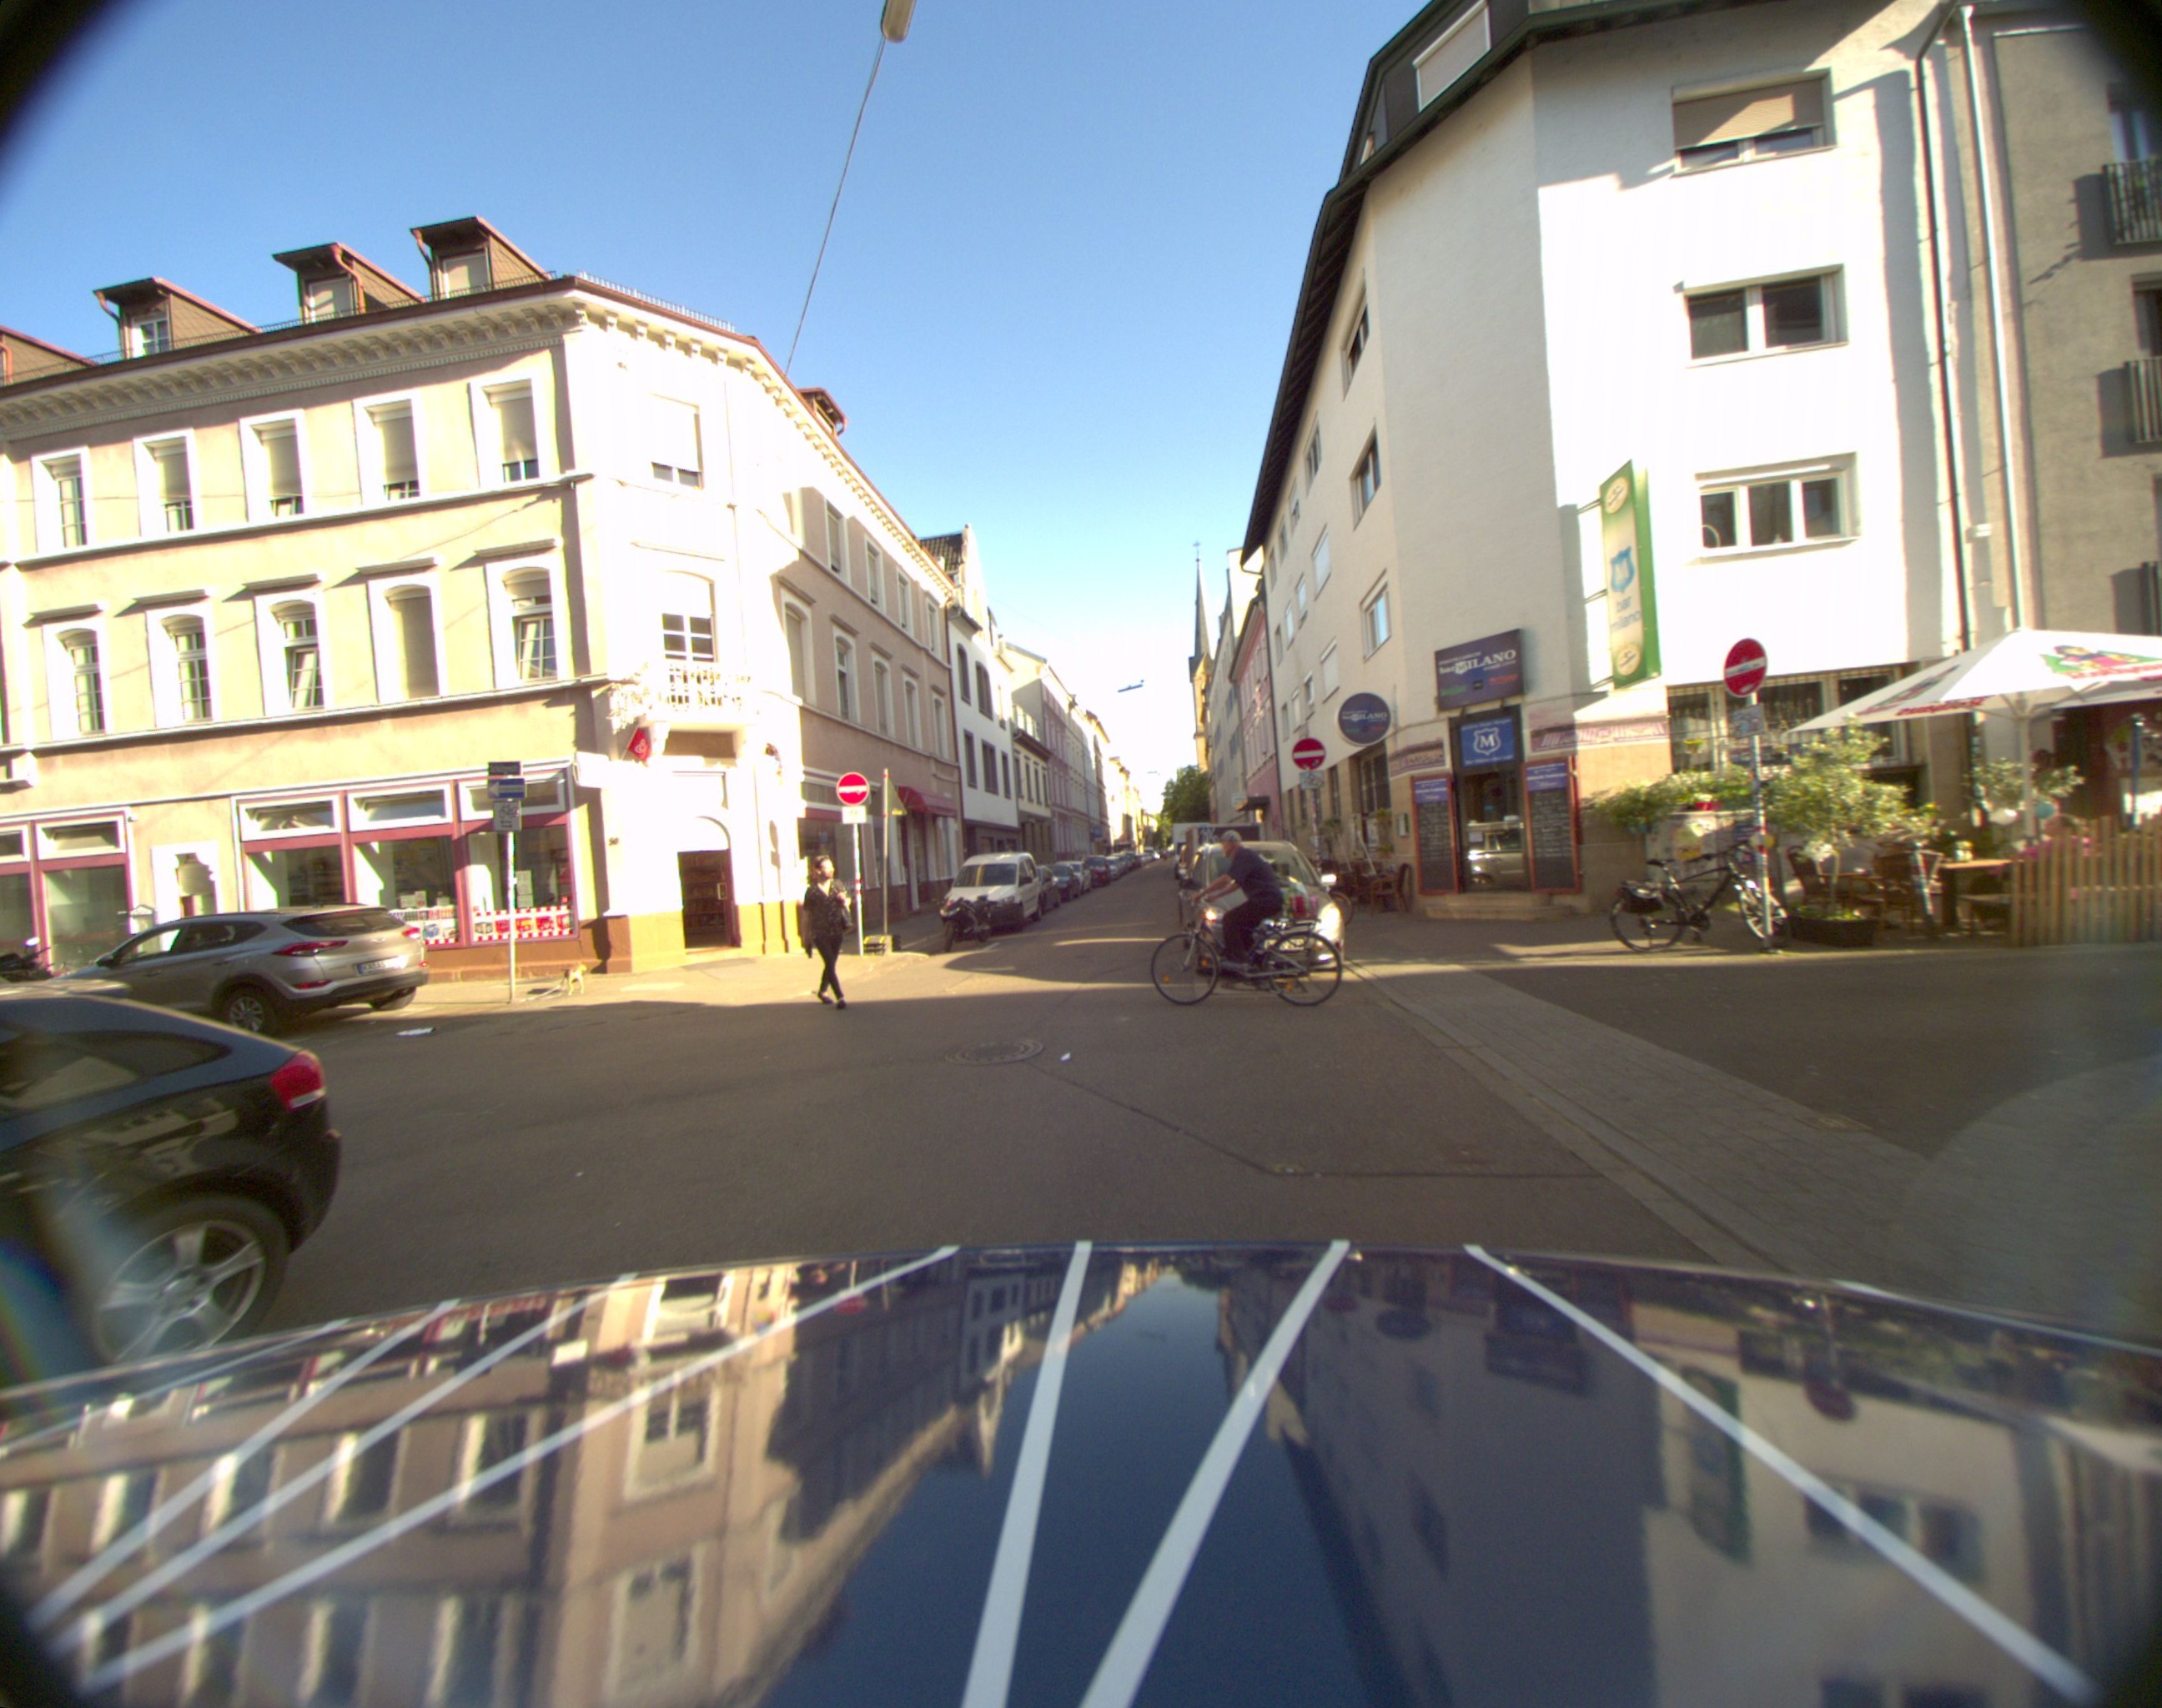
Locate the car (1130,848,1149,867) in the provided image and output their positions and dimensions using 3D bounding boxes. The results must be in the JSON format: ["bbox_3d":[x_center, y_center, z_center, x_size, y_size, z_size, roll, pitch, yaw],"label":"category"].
[{"bbox_3d":[7.265,0.420,94.798,1.998,2.002,4.564,-6,1,3],"label":"car"}]

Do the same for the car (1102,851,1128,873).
[{"bbox_3d":[2.559,0.564,57.062,1.612,1.444,3.883,-3,1,7],"label":"car"}]

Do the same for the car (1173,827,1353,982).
[{"bbox_3d":[2.206,0.540,10.277,1.725,1.596,4.168,-3,0,5],"label":"car"}]

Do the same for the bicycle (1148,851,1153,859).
[{"bbox_3d":[11.136,0.087,121.638,0.728,1.173,2.489,-6,1,5],"label":"bicycle"}]

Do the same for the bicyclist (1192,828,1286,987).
[{"bbox_3d":[1.482,0.484,7.233,0.788,1.427,0.711,-2,1,8],"label":"bicyclist"}]

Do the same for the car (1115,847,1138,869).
[{"bbox_3d":[4.111,0.317,68.259,1.712,1.721,4.222,-3,1,7],"label":"car"}]

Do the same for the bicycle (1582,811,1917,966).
[{"bbox_3d":[6.859,0.350,7.948,2.480,1.351,0.929,-4,1,8],"label":"bicycle"}]

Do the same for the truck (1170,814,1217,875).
[{"bbox_3d":[6.540,-0.583,44.374,2.295,3.165,7.047,-4,1,8],"label":"truck"}]

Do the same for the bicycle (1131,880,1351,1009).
[{"bbox_3d":[1.484,0.842,7.245,1.932,1.105,0.711,-2,1,8],"label":"bicycle"}]

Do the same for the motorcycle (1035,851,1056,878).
[{"bbox_3d":[-1.975,0.553,42.533,0.667,1.388,2.038,-6,1,7],"label":"motorcycle"}]

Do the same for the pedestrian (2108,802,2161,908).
[{"bbox_3d":[12.293,-0.006,8.479,0.659,1.148,0.681,-6,1,16],"label":"pedestrian"}]

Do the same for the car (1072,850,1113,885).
[{"bbox_3d":[0.695,0.690,42.198,1.712,1.721,4.409,-3,1,7],"label":"car"}]

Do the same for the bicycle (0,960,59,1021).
[{"bbox_3d":[-19.964,2.565,14.017,1.643,1.003,0.455,-6,1,5],"label":"bicycle"}]

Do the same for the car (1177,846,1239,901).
[{"bbox_3d":[4.016,0.557,24.646,1.677,1.488,4.532,-3,1,7],"label":"car"}]

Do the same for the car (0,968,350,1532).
[{"bbox_3d":[-4.068,1.273,1.093,1.775,1.426,4.035,-5,0,6],"label":"car"}]

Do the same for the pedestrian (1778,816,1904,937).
[{"bbox_3d":[8.564,0.241,8.597,0.687,1.259,0.660,-6,1,11],"label":"pedestrian"}]

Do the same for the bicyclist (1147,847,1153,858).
[{"bbox_3d":[11.076,-0.282,121.555,0.715,1.650,0.877,-6,1,5],"label":"bicyclist"}]

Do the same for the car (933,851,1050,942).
[{"bbox_3d":[-2.023,0.909,18.537,1.752,1.806,4.371,-3,1,7],"label":"car"}]

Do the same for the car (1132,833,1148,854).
[{"bbox_3d":[8.674,-1.582,112.300,1.998,2.777,4.564,-6,1,3],"label":"car"}]

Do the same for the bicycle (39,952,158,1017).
[{"bbox_3d":[-18.175,2.405,14.065,1.643,1.003,0.455,-5,1,5],"label":"bicycle"}]

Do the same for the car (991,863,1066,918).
[{"bbox_3d":[-1.560,1.103,24.065,1.612,1.400,3.883,-3,1,7],"label":"car"}]

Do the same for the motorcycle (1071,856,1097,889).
[{"bbox_3d":[0.170,0.916,37.853,0.989,1.481,2.268,-3,1,7],"label":"motorcycle"}]

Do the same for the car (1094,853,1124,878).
[{"bbox_3d":[1.910,0.728,50.229,1.612,1.388,3.883,-3,1,7],"label":"car"}]

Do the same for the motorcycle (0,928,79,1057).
[{"bbox_3d":[-15.131,1.935,10.744,2.330,1.639,0.853,-5,1,41],"label":"motorcycle"}]

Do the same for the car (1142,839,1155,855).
[{"bbox_3d":[12.237,-1.285,138.137,1.998,2.777,4.564,-6,1,3],"label":"car"}]

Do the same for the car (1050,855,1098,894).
[{"bbox_3d":[-0.269,0.883,34.354,1.619,1.495,3.774,-3,1,7],"label":"car"}]

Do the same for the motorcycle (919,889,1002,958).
[{"bbox_3d":[-2.337,1.340,15.050,0.720,1.080,1.998,-3,1,18],"label":"motorcycle"}]

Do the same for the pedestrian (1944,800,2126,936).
[{"bbox_3d":[9.720,0.132,7.781,0.849,1.259,0.707,-6,1,11],"label":"pedestrian"}]

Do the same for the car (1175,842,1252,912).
[{"bbox_3d":[3.358,0.516,19.794,1.680,1.546,3.819,-3,1,7],"label":"car"}]

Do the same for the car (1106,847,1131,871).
[{"bbox_3d":[3.077,0.385,61.576,1.712,1.721,4.222,-3,1,7],"label":"car"}]

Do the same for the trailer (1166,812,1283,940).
[{"bbox_3d":[2.624,0.334,14.789,1.665,2.049,4.364,-3,1,4],"label":"trailer"}]

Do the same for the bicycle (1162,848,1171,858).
[{"bbox_3d":[14.626,-0.224,130.319,1.019,1.641,3.548,-6,1,2],"label":"bicycle"}]

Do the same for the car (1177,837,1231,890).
[{"bbox_3d":[4.767,0.294,29.995,1.806,1.834,4.245,-4,1,7],"label":"car"}]

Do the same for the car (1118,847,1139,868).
[{"bbox_3d":[4.623,0.341,73.553,1.712,1.802,4.222,-3,1,7],"label":"car"}]

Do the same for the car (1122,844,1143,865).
[{"bbox_3d":[5.600,0.058,82.265,1.998,2.002,4.565,-6,1,5],"label":"car"}]

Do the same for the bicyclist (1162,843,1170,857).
[{"bbox_3d":[14.551,-0.747,130.287,1.019,2.280,1.532,-6,1,2],"label":"bicyclist"}]

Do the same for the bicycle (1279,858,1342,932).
[{"bbox_3d":[3.960,0.677,13.208,0.577,1.132,1.461,-6,1,2],"label":"bicycle"}]

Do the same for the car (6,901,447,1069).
[{"bbox_3d":[-11.376,1.709,10.296,4.067,1.623,1.856,-5,3,8],"label":"car"}]

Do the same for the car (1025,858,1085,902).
[{"bbox_3d":[-0.937,0.966,29.584,1.735,1.388,3.883,-3,1,7],"label":"car"}]

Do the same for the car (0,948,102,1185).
[{"bbox_3d":[-8.866,1.547,4.666,3.875,1.445,1.677,-5,0,7],"label":"car"}]

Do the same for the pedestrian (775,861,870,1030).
[{"bbox_3d":[-3.000,0.990,8.775,0.829,1.782,0.988,-3,2,-27],"label":"pedestrian"}]
